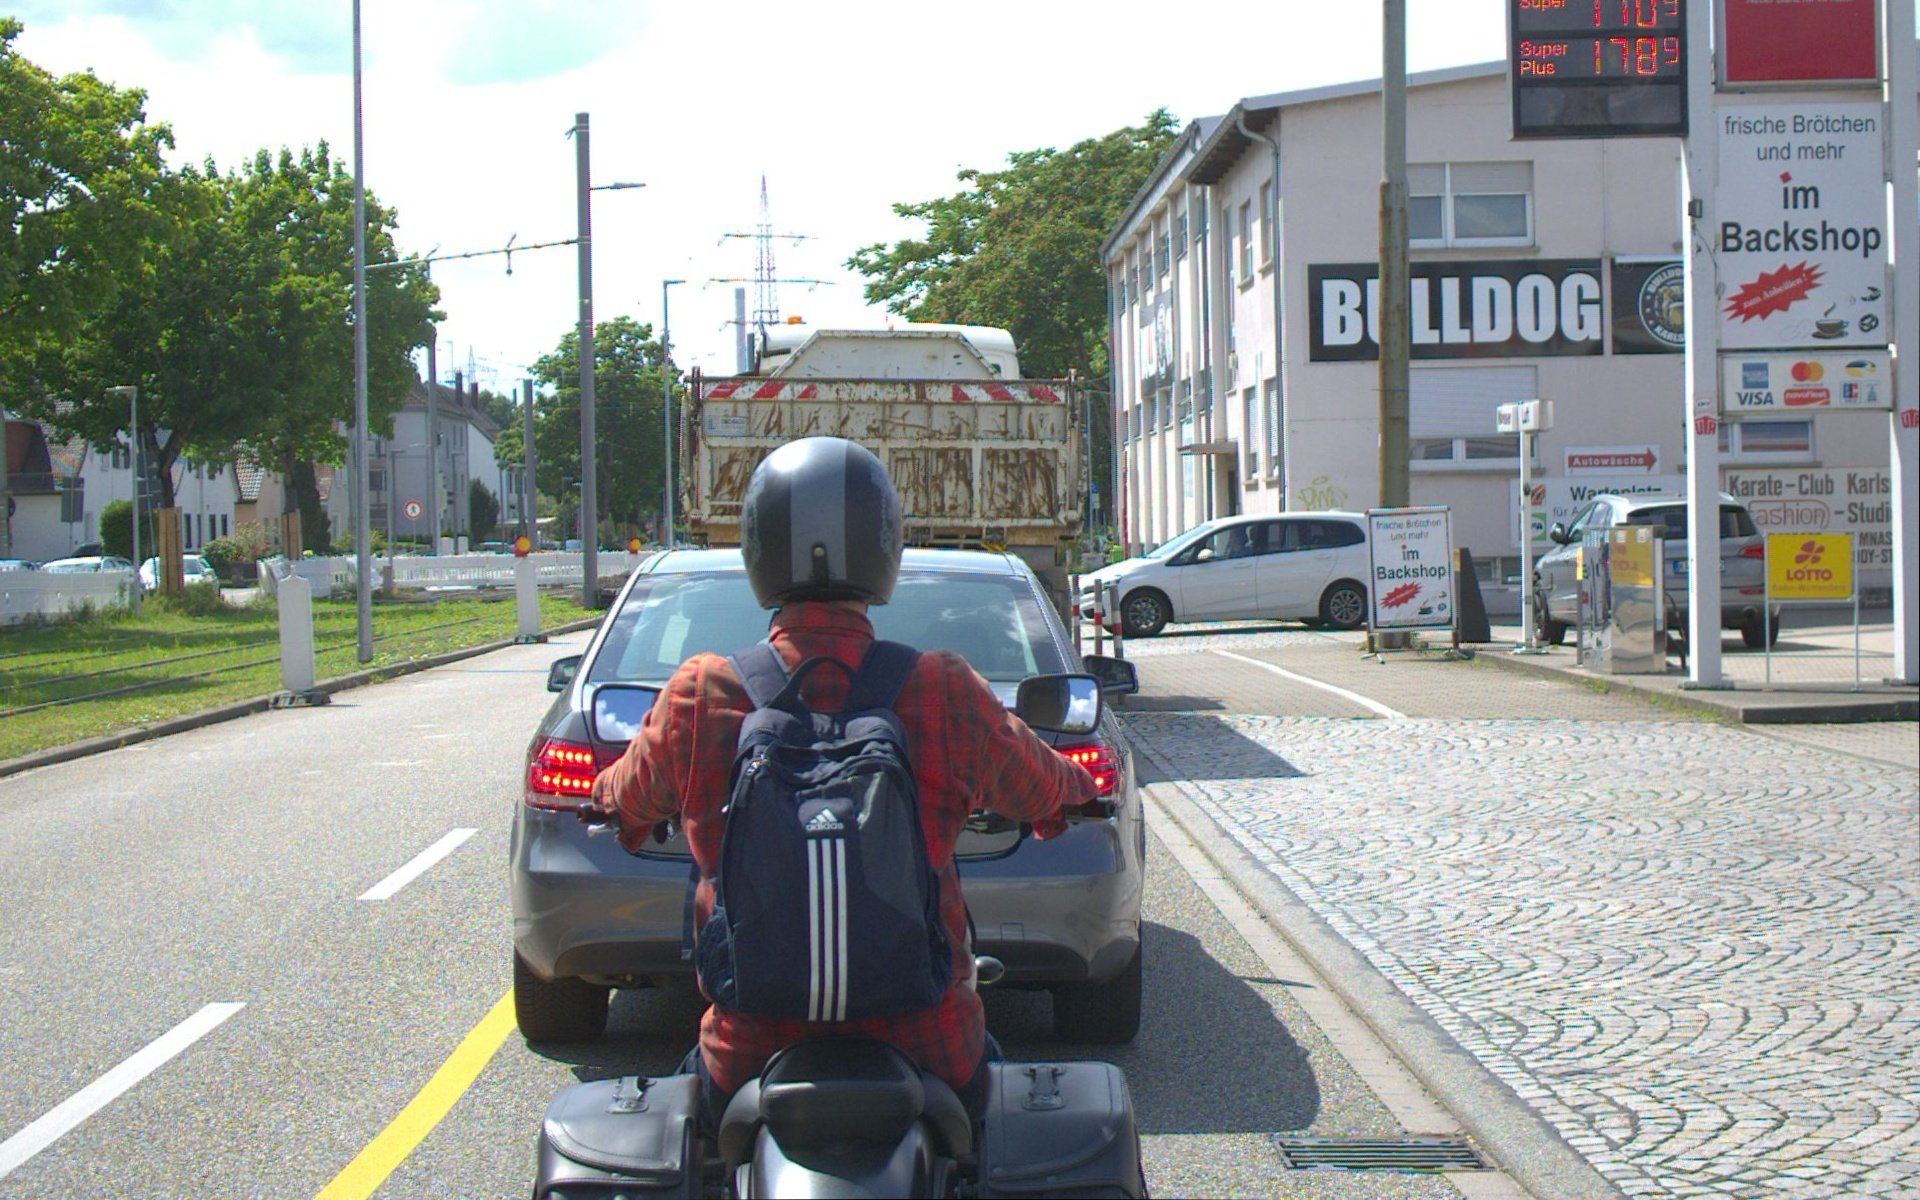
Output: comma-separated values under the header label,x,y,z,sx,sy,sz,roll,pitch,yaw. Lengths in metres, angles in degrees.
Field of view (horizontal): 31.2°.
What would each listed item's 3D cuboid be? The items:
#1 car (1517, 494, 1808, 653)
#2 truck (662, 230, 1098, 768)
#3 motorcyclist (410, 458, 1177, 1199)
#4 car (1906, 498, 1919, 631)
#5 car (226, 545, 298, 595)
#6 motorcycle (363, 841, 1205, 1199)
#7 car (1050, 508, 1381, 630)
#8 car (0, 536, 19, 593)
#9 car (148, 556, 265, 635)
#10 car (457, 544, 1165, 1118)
label,x,y,z,sx,sy,sz,roll,pitch,yaw
car,7.381,-0.308,36.526,1.667,1.557,4.245,-1,1,-8
truck,-0.541,-0.717,25.370,2.638,3.285,8.057,-1,1,-1
motorcyclist,-0.216,0.612,5.033,0.979,1.597,1.088,-1,1,-1
car,11.736,-0.383,37.096,1.806,1.498,3.834,-1,1,-3
car,-25.411,-1.103,125.249,1.776,1.717,4.128,-1,1,0
motorcycle,-0.212,0.954,5.345,0.979,0.894,2.653,-1,1,-1
car,3.480,-0.439,47.078,4.229,1.537,1.673,-1,1,-8
car,-30.038,-1.065,104.413,1.776,1.717,4.128,-1,1,0
car,-17.492,-0.134,79.967,1.776,1.717,4.128,-1,1,0
car,-0.410,0.571,10.950,1.823,1.447,4.000,1,1,-1
